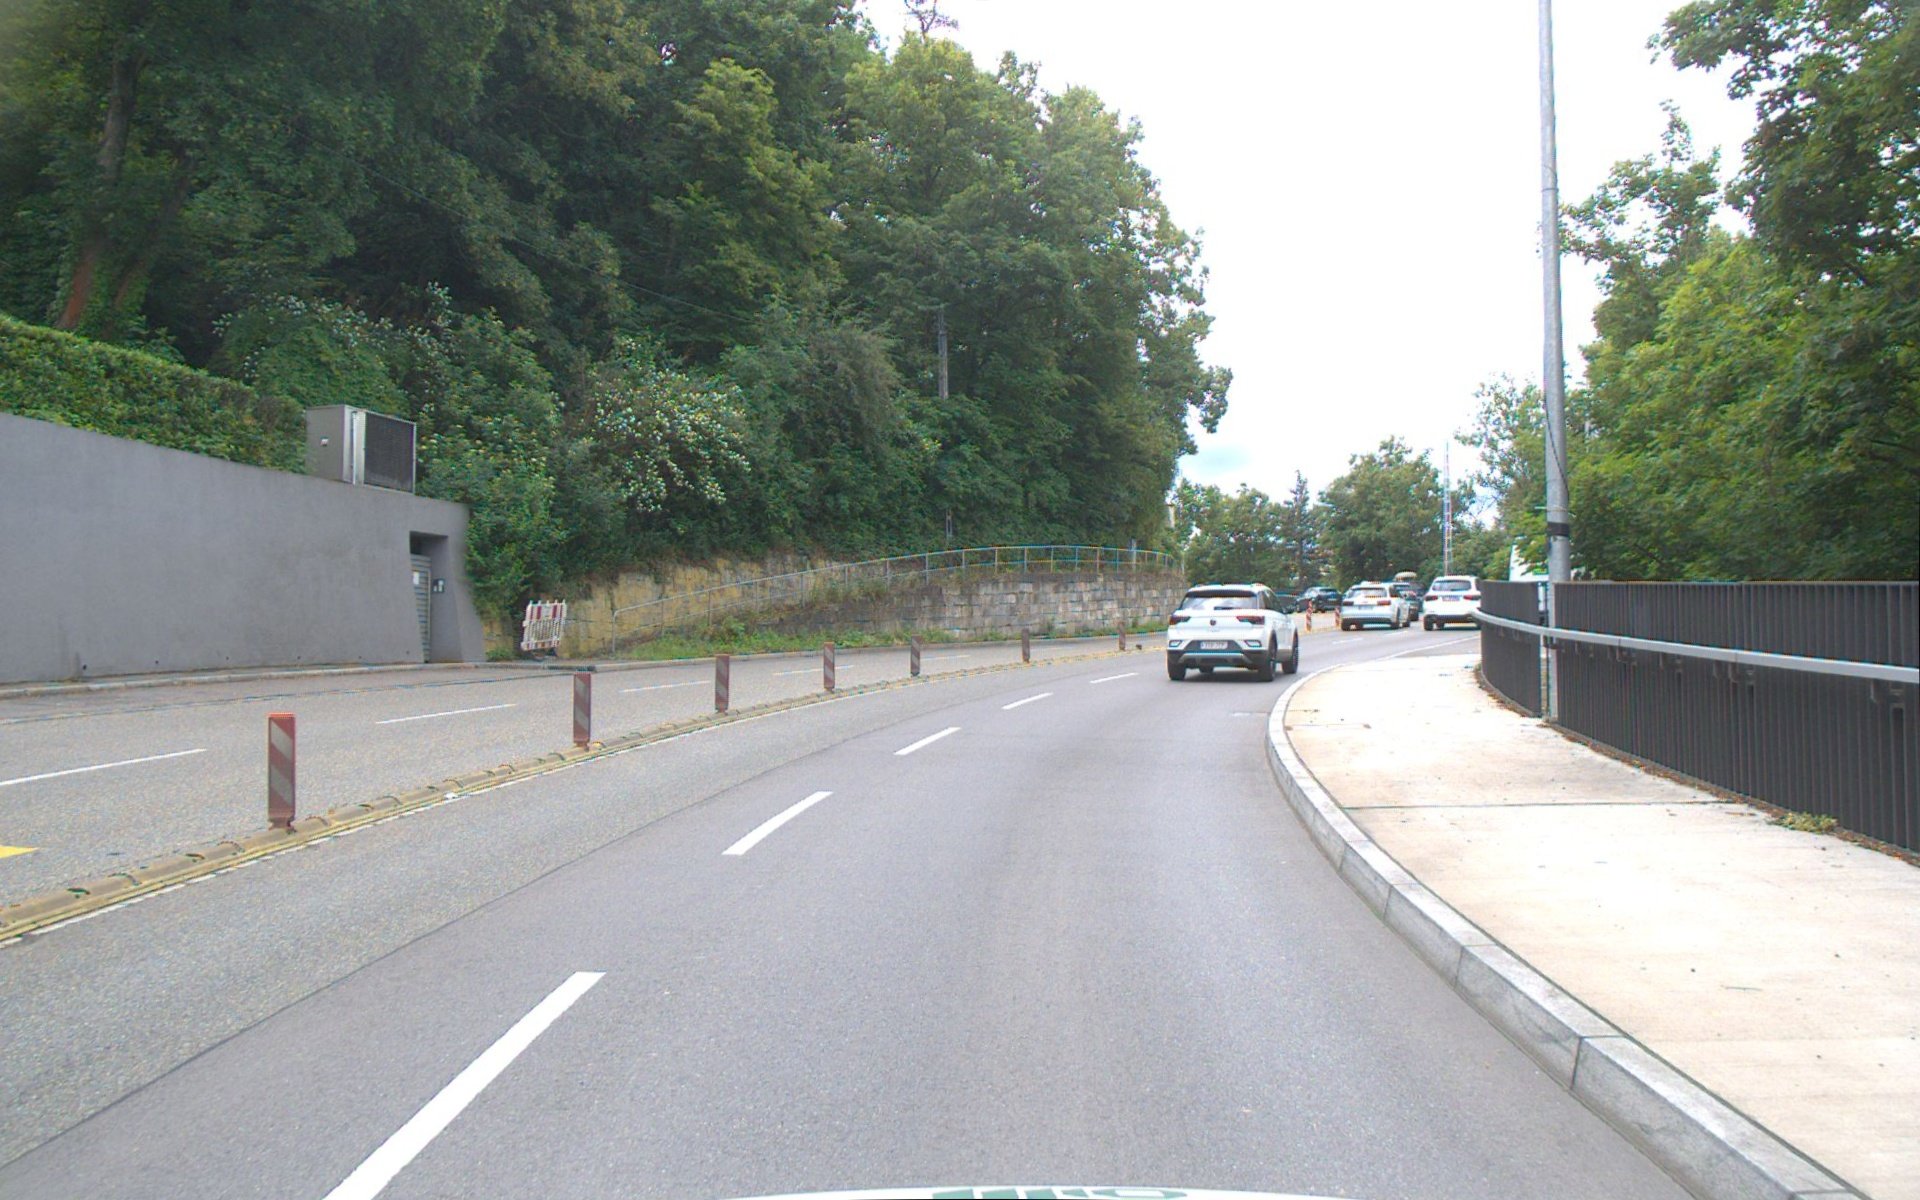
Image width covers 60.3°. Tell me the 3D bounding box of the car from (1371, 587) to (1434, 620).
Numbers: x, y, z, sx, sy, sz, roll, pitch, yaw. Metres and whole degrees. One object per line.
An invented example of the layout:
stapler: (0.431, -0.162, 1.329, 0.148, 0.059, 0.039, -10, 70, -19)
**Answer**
car: (24.703, 0.199, 92.416, 1.764, 1.803, 4.599, 1, 0, -8)

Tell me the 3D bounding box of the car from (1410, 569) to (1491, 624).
car: (15.386, -0.089, 51.787, 1.953, 1.614, 3.998, 2, 0, 23)

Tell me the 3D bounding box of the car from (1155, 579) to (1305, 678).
car: (4.678, 0.431, 28.292, 1.828, 1.563, 3.804, 0, 0, 21)

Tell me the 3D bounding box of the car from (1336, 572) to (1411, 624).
car: (13.684, -0.044, 54.576, 1.867, 1.601, 4.000, 2, 0, 21)

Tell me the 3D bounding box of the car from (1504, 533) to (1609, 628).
car: (17.667, -0.566, 48.802, 2.044, 2.567, 5.837, -3, -1, 27)

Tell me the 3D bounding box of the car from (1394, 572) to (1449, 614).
car: (18.388, -0.248, 65.993, 1.951, 1.568, 4.013, 2, 0, 14)

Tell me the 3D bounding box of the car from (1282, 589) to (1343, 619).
car: (20.498, 0.237, 96.307, 1.857, 1.639, 3.985, 2, 0, -14)
